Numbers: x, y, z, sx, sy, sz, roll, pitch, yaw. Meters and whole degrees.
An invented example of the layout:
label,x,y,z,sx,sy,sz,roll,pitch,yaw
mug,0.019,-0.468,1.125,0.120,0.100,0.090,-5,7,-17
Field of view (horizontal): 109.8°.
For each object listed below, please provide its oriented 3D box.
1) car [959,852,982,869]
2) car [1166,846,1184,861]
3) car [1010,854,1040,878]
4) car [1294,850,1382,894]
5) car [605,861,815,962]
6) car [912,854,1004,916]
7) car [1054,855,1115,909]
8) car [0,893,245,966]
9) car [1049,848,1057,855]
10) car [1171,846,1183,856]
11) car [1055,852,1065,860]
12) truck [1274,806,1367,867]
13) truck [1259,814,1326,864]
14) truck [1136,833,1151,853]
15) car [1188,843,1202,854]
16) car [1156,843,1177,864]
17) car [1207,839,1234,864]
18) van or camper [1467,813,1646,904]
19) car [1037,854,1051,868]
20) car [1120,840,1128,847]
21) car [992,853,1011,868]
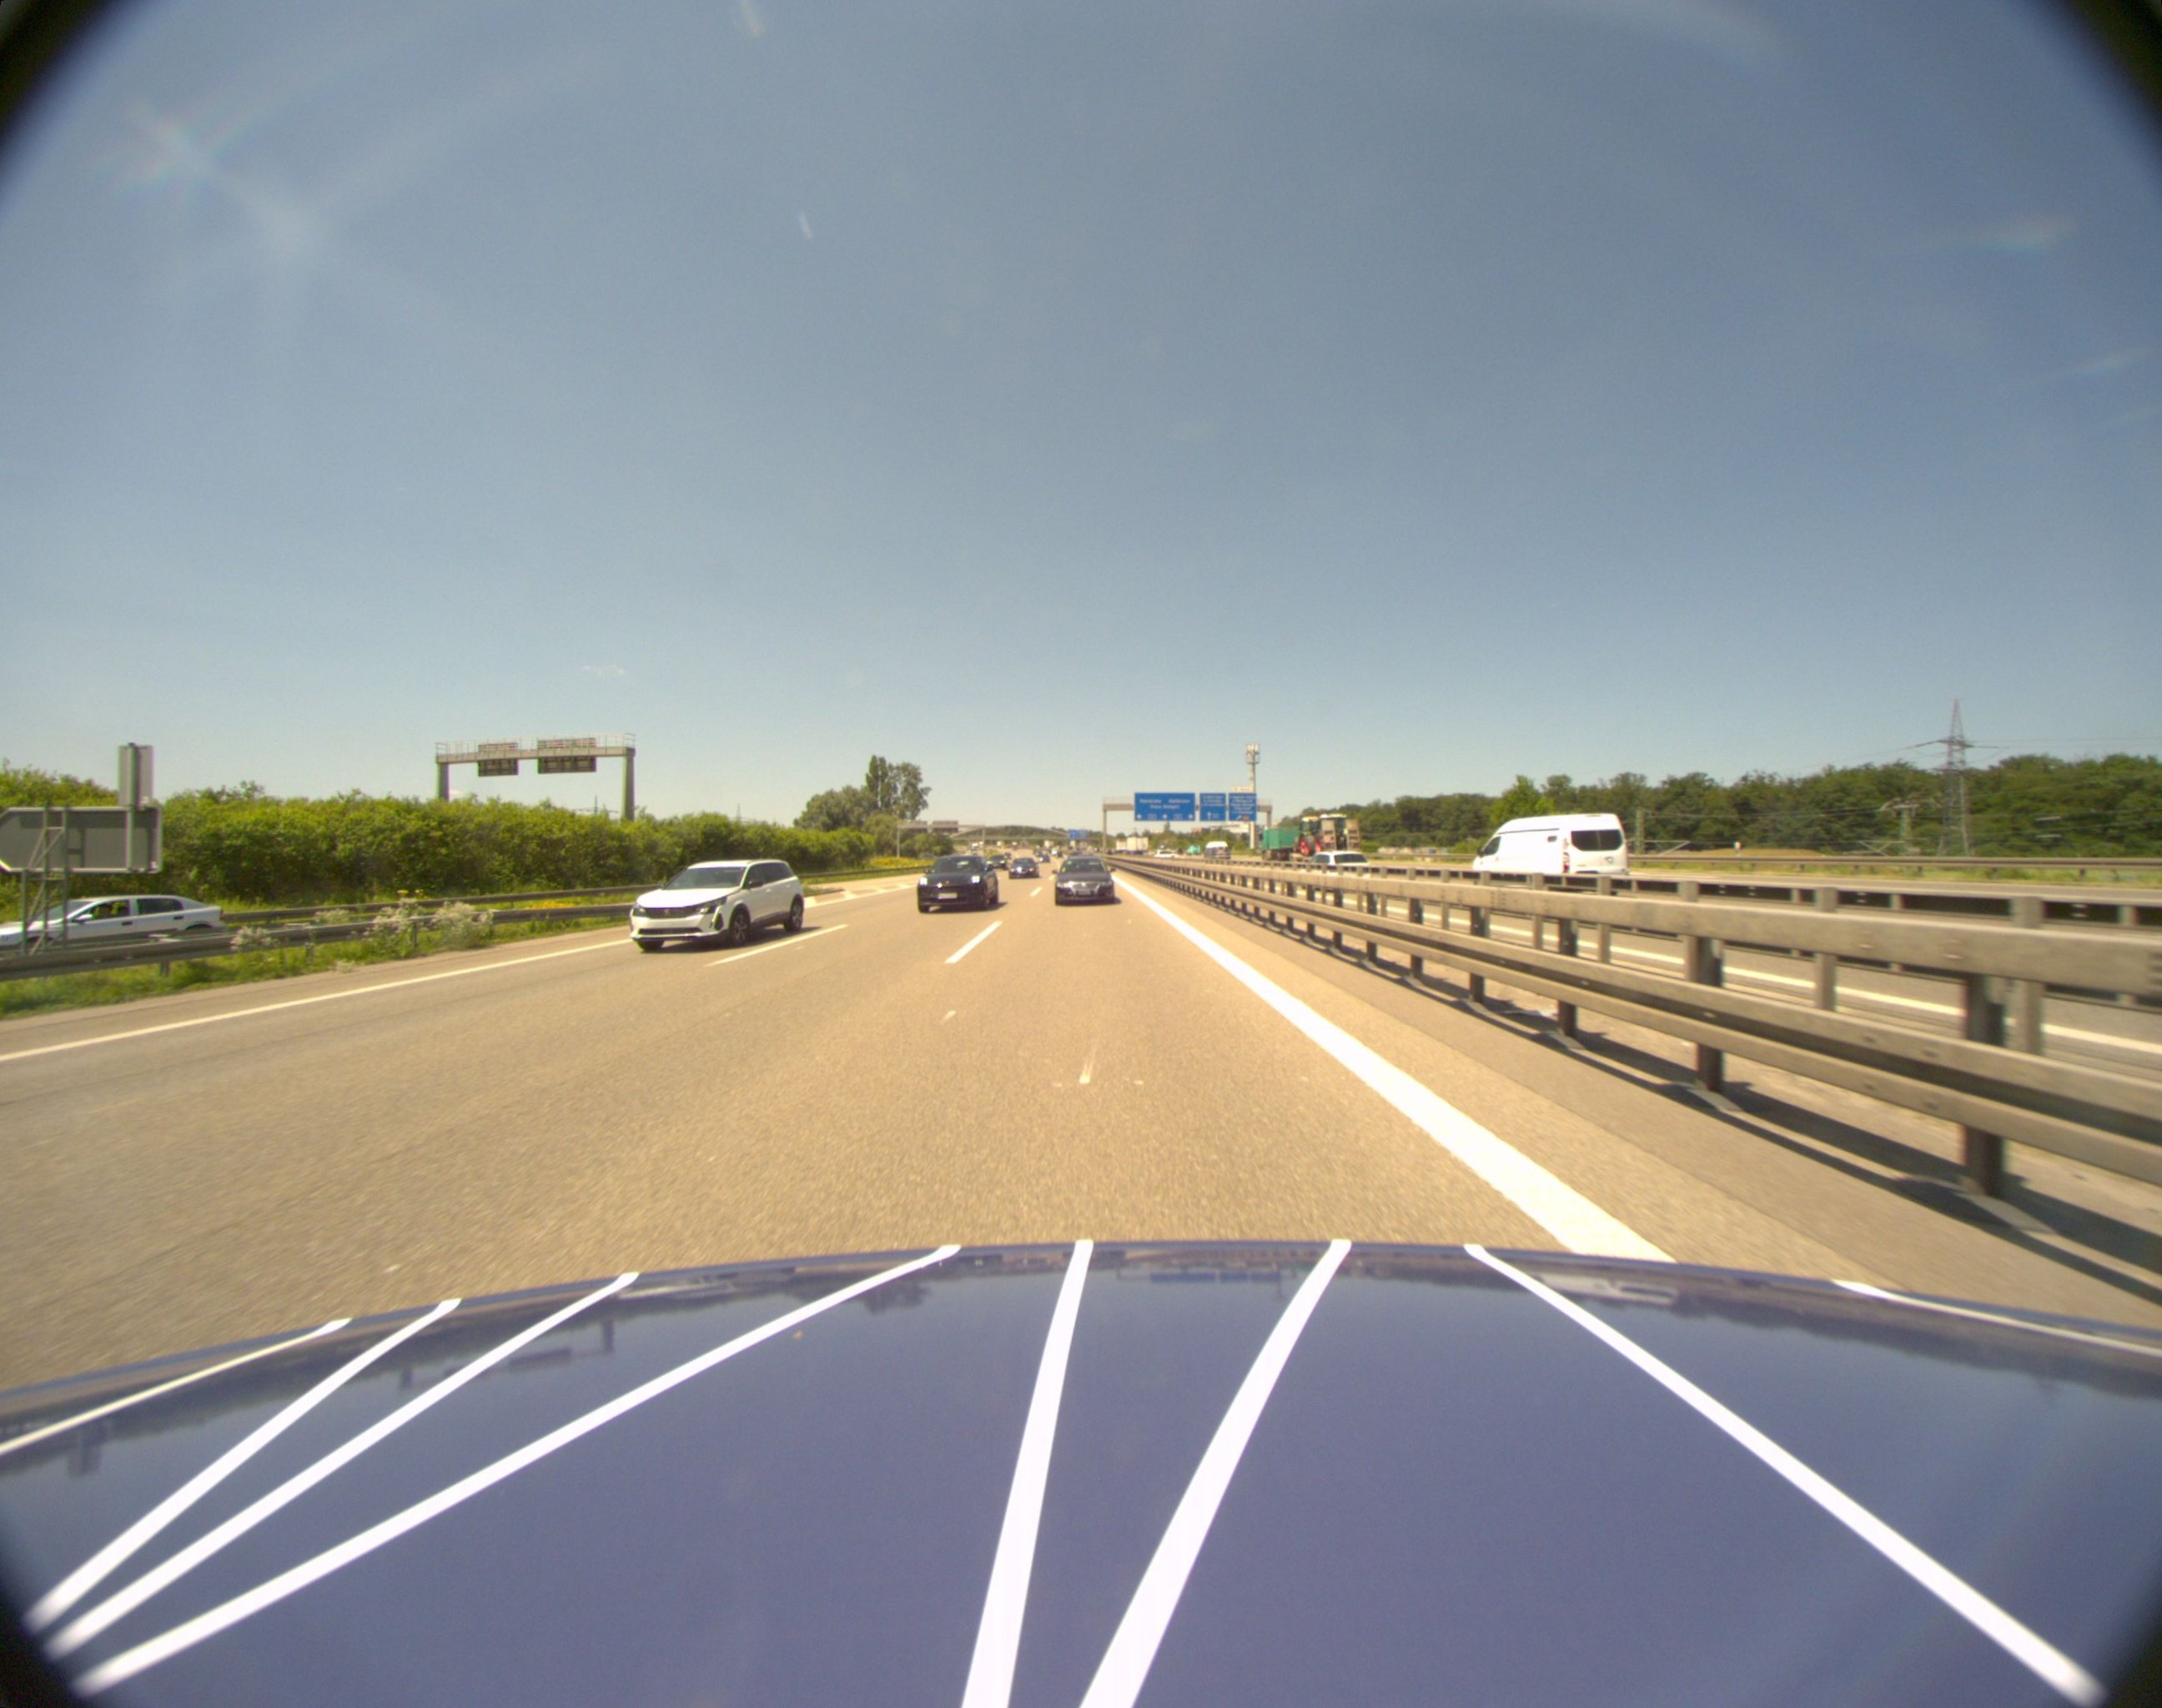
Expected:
label,x,y,z,sx,sy,sz,roll,pitch,yaw
car,-13.516,0.769,93.229,1.998,2.002,4.764,-1,0,3
car,12.729,-0.099,103.301,1.998,2.002,4.000,-1,0,1
car,-3.721,0.750,51.168,1.752,1.462,3.999,-2,1,-1
car,9.337,0.601,27.957,1.785,1.457,3.999,-2,0,-1
car,-7.210,1.008,15.406,1.898,1.620,4.617,-2,0,1
car,-3.607,0.850,23.121,1.982,1.620,4.616,-2,0,0
car,0.130,0.806,24.036,1.751,1.462,3.999,-1,1,1
car,-23.000,1.696,17.875,1.897,1.272,4.080,-2,0,9
car,-8.428,-0.842,226.853,1.998,2.002,4.000,-2,1,1
car,20.309,-0.545,160.621,1.998,2.002,4.000,-2,1,1
car,-4.490,0.390,164.027,1.998,1.691,4.000,-1,0,1
truck,17.332,-1.193,56.252,3.394,3.959,12.242,-1,0,2
truck,17.606,-1.214,64.042,3.426,3.901,8.582,-1,0,2
truck,13.543,-2.340,165.241,2.724,4.281,8.787,-1,0,1
car,21.666,-1.050,144.652,1.998,2.002,3.999,-2,1,1
car,8.759,-0.052,77.989,1.785,2.023,4.000,-1,0,1
car,12.933,-0.228,70.561,1.785,2.169,4.000,-1,0,1
van or camper,13.689,0.107,22.349,1.999,2.327,5.077,-2,0,-1
car,-5.713,1.077,117.823,1.998,2.002,4.000,-1,0,1
car,12.693,-3.156,225.684,1.998,2.002,4.320,-2,1,1
car,-8.253,0.623,78.852,1.752,1.462,3.998,-2,1,-3
